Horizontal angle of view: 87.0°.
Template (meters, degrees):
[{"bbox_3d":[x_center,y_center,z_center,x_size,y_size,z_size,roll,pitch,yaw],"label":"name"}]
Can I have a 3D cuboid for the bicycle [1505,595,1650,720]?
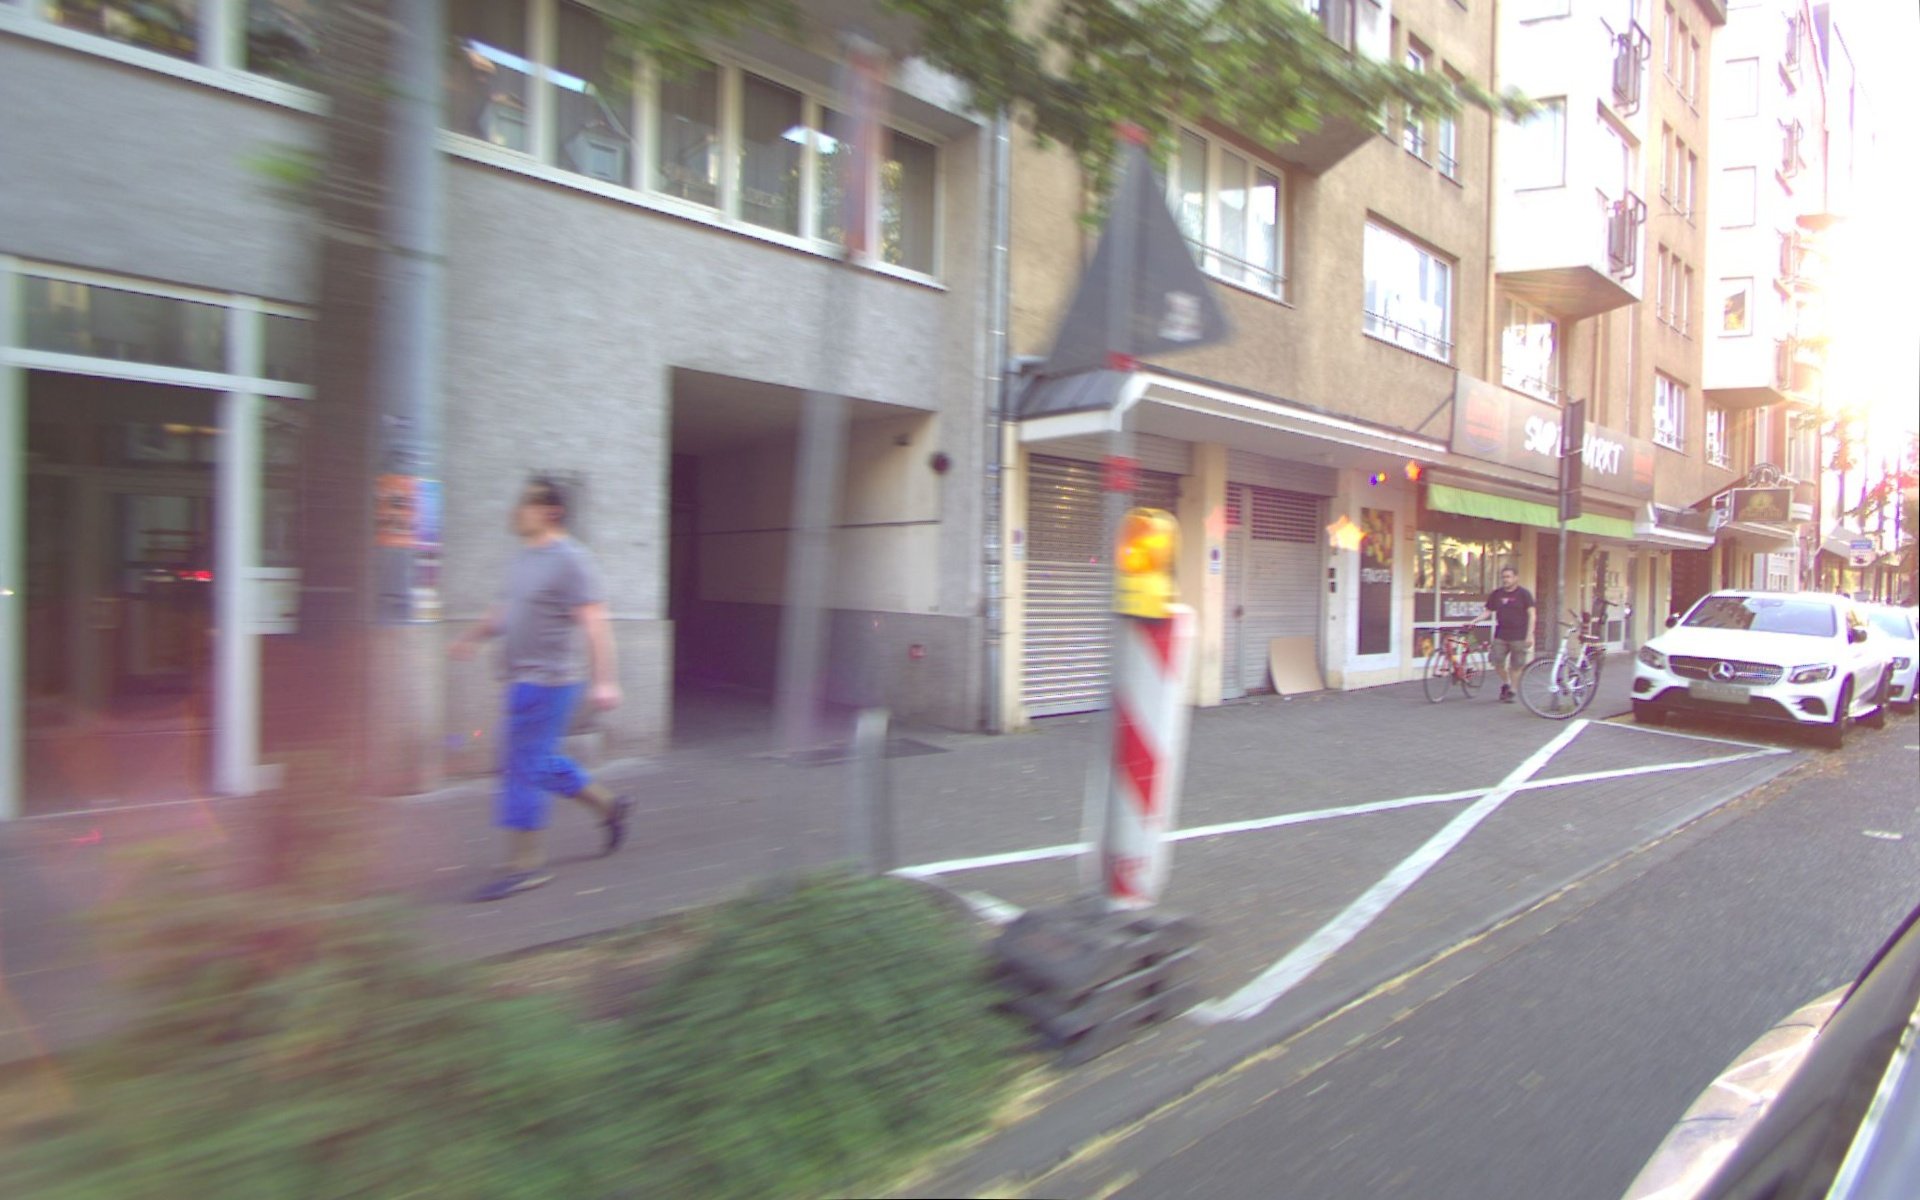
[{"bbox_3d":[7.124,0.612,11.642,2.014,1.277,0.777,0,3,-41],"label":"bicycle"}]

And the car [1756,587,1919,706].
[{"bbox_3d":[14.334,0.621,15.961,5.100,1.498,1.846,0,4,-42],"label":"car"}]

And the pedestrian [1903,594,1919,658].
[{"bbox_3d":[23.169,0.625,24.301,0.781,1.503,0.632,1,3,-41],"label":"pedestrian"}]

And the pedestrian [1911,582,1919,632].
[{"bbox_3d":[32.946,0.258,34.498,0.629,1.698,0.625,0,2,-40],"label":"pedestrian"}]

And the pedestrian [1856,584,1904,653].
[{"bbox_3d":[22.649,0.446,24.908,0.781,1.618,0.709,1,3,-41],"label":"pedestrian"}]

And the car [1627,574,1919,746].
[{"bbox_3d":[9.850,0.573,12.104,4.609,1.593,1.884,0,4,-41],"label":"car"}]

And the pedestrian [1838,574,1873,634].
[{"bbox_3d":[29.218,0.122,33.005,0.959,1.890,0.627,0,4,-41],"label":"pedestrian"}]

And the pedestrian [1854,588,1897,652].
[{"bbox_3d":[20.688,0.436,22.875,0.706,1.401,0.578,0,3,-41],"label":"pedestrian"}]

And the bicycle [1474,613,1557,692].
[{"bbox_3d":[7.429,0.673,13.515,1.523,0.970,0.459,0,2,-42],"label":"bicycle"}]

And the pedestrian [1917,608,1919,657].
[{"bbox_3d":[21.298,0.559,22.022,0.592,1.401,0.578,0,3,-41],"label":"pedestrian"}]

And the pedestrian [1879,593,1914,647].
[{"bbox_3d":[24.319,0.518,26.284,0.430,1.361,0.549,0,3,-41],"label":"pedestrian"}]

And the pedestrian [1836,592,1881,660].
[{"bbox_3d":[19.423,0.550,21.879,0.592,1.401,0.578,0,3,-41],"label":"pedestrian"}]

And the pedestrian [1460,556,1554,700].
[{"bbox_3d":[6.846,0.327,12.682,0.688,1.725,0.789,0,2,-41],"label":"pedestrian"}]

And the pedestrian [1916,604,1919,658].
[{"bbox_3d":[20.145,0.545,20.806,0.691,1.335,0.578,0,3,-41],"label":"pedestrian"}]

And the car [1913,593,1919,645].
[{"bbox_3d":[29.626,0.606,29.662,4.910,1.457,1.779,0,4,-40],"label":"car"}]

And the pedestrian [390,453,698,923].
[{"bbox_3d":[-1.862,0.322,4.557,0.855,1.816,0.982,3,2,41],"label":"pedestrian"}]

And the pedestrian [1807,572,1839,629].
[{"bbox_3d":[28.662,0.009,33.604,0.821,1.831,0.590,0,3,-41],"label":"pedestrian"}]

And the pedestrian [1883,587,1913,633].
[{"bbox_3d":[32.247,0.338,34.787,0.629,1.507,0.625,0,2,-40],"label":"pedestrian"}]
